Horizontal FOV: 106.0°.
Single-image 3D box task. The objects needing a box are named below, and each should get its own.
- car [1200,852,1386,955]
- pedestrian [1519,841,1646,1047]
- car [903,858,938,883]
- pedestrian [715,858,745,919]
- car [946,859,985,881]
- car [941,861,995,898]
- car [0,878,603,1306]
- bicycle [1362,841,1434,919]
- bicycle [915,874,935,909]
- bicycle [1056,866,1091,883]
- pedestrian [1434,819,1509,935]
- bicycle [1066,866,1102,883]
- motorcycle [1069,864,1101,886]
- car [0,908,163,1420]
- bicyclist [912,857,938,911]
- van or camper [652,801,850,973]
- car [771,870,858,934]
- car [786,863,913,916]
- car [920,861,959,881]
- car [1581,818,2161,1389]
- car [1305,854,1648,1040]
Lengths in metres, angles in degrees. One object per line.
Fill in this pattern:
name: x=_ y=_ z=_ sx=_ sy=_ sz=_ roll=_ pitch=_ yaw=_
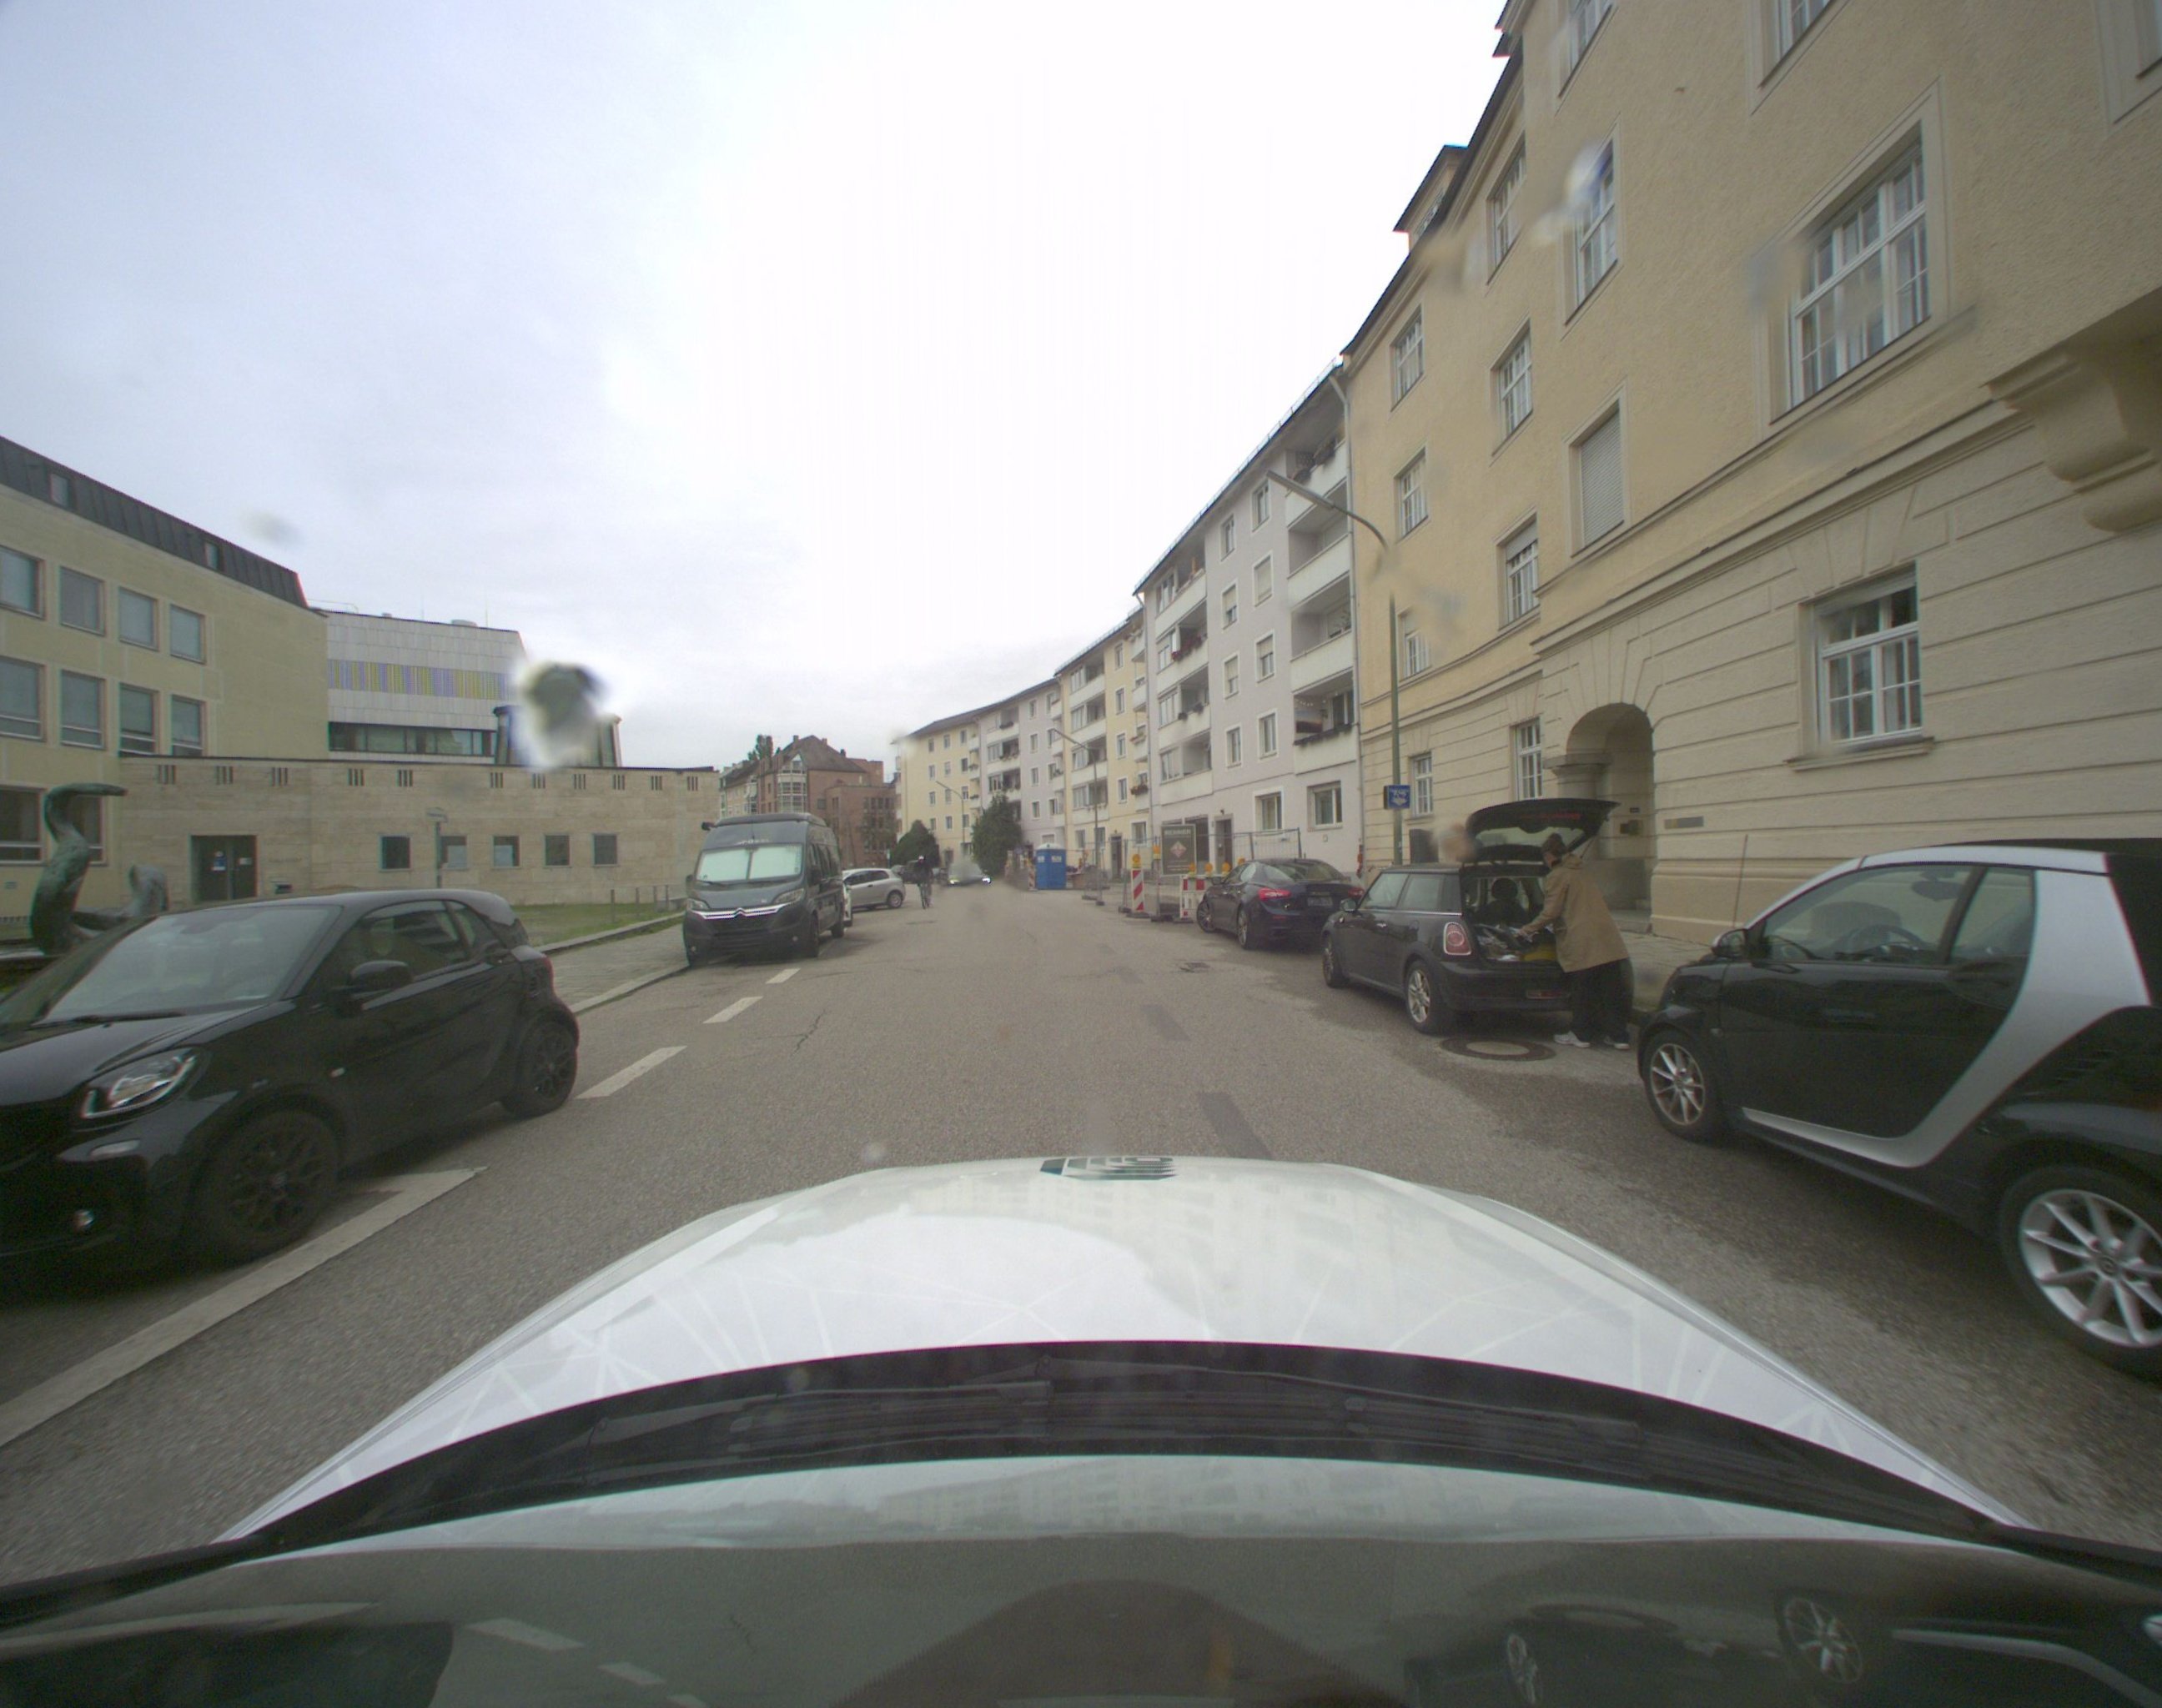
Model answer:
car: x=3.465 y=0.722 z=14.391 sx=1.903 sy=1.477 sz=4.943 roll=-1 pitch=0 yaw=-1
pedestrian: x=3.888 y=0.670 z=6.353 sx=0.626 sy=1.528 sz=0.578 roll=-1 pitch=-1 yaw=1
car: x=-13.622 y=1.430 z=68.975 sx=1.792 sy=1.976 sz=3.684 roll=-3 pitch=0 yaw=-30
pedestrian: x=-11.180 y=1.081 z=25.931 sx=0.846 sy=1.866 sz=0.708 roll=-1 pitch=-1 yaw=-26
car: x=-8.706 y=1.192 z=61.280 sx=1.839 sy=1.574 sz=3.967 roll=-1 pitch=-1 yaw=-25
car: x=-5.176 y=1.137 z=36.802 sx=1.922 sy=1.412 sz=4.682 roll=-4 pitch=0 yaw=-13
car: x=-4.229 y=0.950 z=4.445 sx=1.515 sy=1.465 sz=2.884 roll=-4 pitch=0 yaw=-2
bicycle: x=5.507 y=0.436 z=14.246 sx=0.634 sy=1.258 sz=1.671 roll=-1 pitch=-1 yaw=2
bicycle: x=-5.297 y=1.264 z=27.591 sx=0.586 sy=1.069 sz=1.929 roll=-4 pitch=0 yaw=-11
bicycle: x=-0.541 y=1.399 z=56.284 sx=2.241 sy=1.069 sz=0.913 roll=-1 pitch=-1 yaw=-22
pedestrian: x=6.076 y=0.350 z=12.722 sx=0.615 sy=1.690 sz=0.920 roll=-5 pitch=-1 yaw=2
bicycle: x=0.219 y=1.382 z=54.955 sx=2.241 sy=1.069 sz=0.913 roll=-1 pitch=-1 yaw=-22
motorcycle: x=0.213 y=1.183 z=46.925 sx=0.935 sy=1.221 sz=2.489 roll=-1 pitch=-1 yaw=-21
car: x=-4.008 y=0.969 z=0.528 sx=1.769 sy=1.465 sz=4.462 roll=-4 pitch=0 yaw=-2
bicyclist: x=-5.278 y=1.003 z=27.624 sx=0.745 sy=1.771 sz=0.812 roll=-4 pitch=0 yaw=-11
van or camper: x=-5.885 y=0.482 z=15.491 sx=2.298 sy=2.581 sz=6.063 roll=-1 pitch=0 yaw=-11
car: x=-7.293 y=1.237 z=22.505 sx=1.998 sy=1.451 sz=4.190 roll=-4 pitch=0 yaw=-17
car: x=-7.922 y=1.200 z=28.072 sx=1.693 sy=1.507 sz=3.833 roll=-4 pitch=0 yaw=43
car: x=-11.342 y=1.352 z=65.206 sx=1.794 sy=1.519 sz=3.681 roll=0 pitch=-1 yaw=-33
car: x=3.783 y=0.669 z=3.540 sx=1.507 sy=1.555 sz=3.022 roll=-1 pitch=0 yaw=4
car: x=3.555 y=0.713 z=8.112 sx=1.626 sy=1.417 sz=3.678 roll=-1 pitch=0 yaw=0
